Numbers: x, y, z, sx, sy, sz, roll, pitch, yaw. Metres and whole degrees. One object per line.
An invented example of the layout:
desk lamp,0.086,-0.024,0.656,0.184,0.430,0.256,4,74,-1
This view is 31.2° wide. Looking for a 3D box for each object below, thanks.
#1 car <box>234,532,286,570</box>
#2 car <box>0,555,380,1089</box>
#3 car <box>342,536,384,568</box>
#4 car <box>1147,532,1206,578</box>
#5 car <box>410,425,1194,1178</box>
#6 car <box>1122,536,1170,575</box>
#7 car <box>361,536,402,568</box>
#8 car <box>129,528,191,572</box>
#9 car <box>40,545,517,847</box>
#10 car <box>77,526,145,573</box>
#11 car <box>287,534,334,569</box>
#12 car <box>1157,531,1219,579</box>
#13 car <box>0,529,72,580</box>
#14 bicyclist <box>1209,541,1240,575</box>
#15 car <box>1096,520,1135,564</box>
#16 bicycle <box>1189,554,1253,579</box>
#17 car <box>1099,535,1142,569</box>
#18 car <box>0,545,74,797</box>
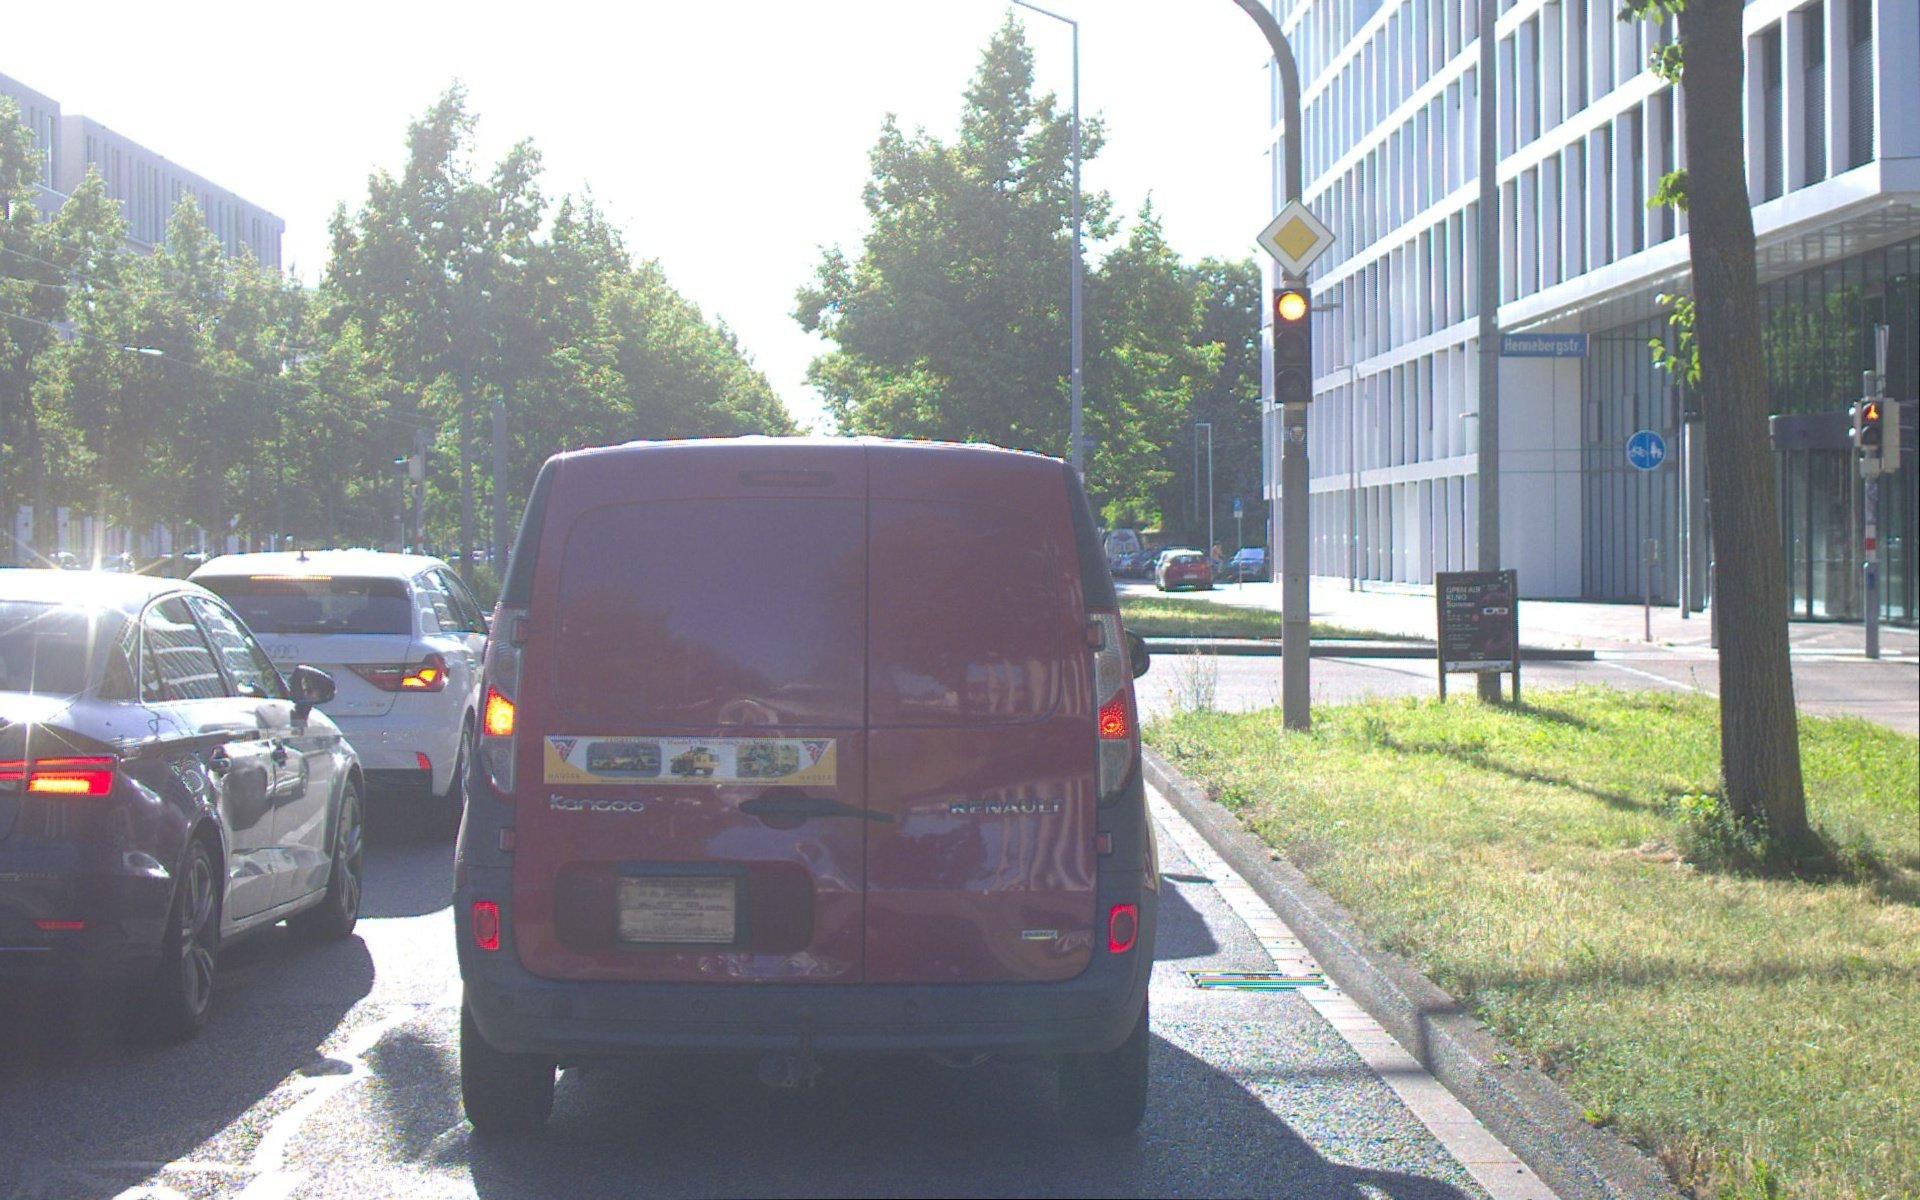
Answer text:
car,-37.296,-2.627,183.143,1.993,2.007,4.000,0,1,-1
car,-3.201,0.575,11.487,1.842,1.421,4.339,0,1,-1
car,-37.837,-3.065,217.975,1.993,2.007,4.000,0,1,-1
car,8.414,-1.765,133.661,1.993,1.776,4.000,0,1,-1
car,-0.395,0.437,10.097,1.842,1.774,4.000,0,1,-1
car,8.721,-2.087,161.363,1.993,1.776,4.000,0,1,-1
car,-37.627,-3.125,223.599,1.993,2.007,4.000,0,1,-1
car,-37.030,-2.329,159.157,1.993,2.007,4.000,0,1,-1
car,-3.486,0.426,18.279,1.803,1.421,3.901,0,1,-1
car,-37.040,-2.220,150.057,1.993,2.007,4.000,0,1,-1
car,-37.751,-2.845,199.958,1.993,2.007,4.000,0,1,-1
car,8.525,-1.699,128.572,1.993,1.776,4.000,0,1,-1
car,-36.955,-1.844,137.231,1.993,2.007,4.000,0,1,-1
bicyclist,11.381,-1.816,148.091,0.986,1.432,0.949,0,1,34
car,8.997,-3.367,199.069,1.993,2.488,4.987,0,1,-1
bicycle,11.256,-1.448,148.197,2.642,1.102,0.949,0,1,34
car,8.418,-2.526,180.560,1.993,1.776,4.000,0,1,-1
car,-6.577,0.401,20.078,1.799,1.478,4.569,3,1,-3
